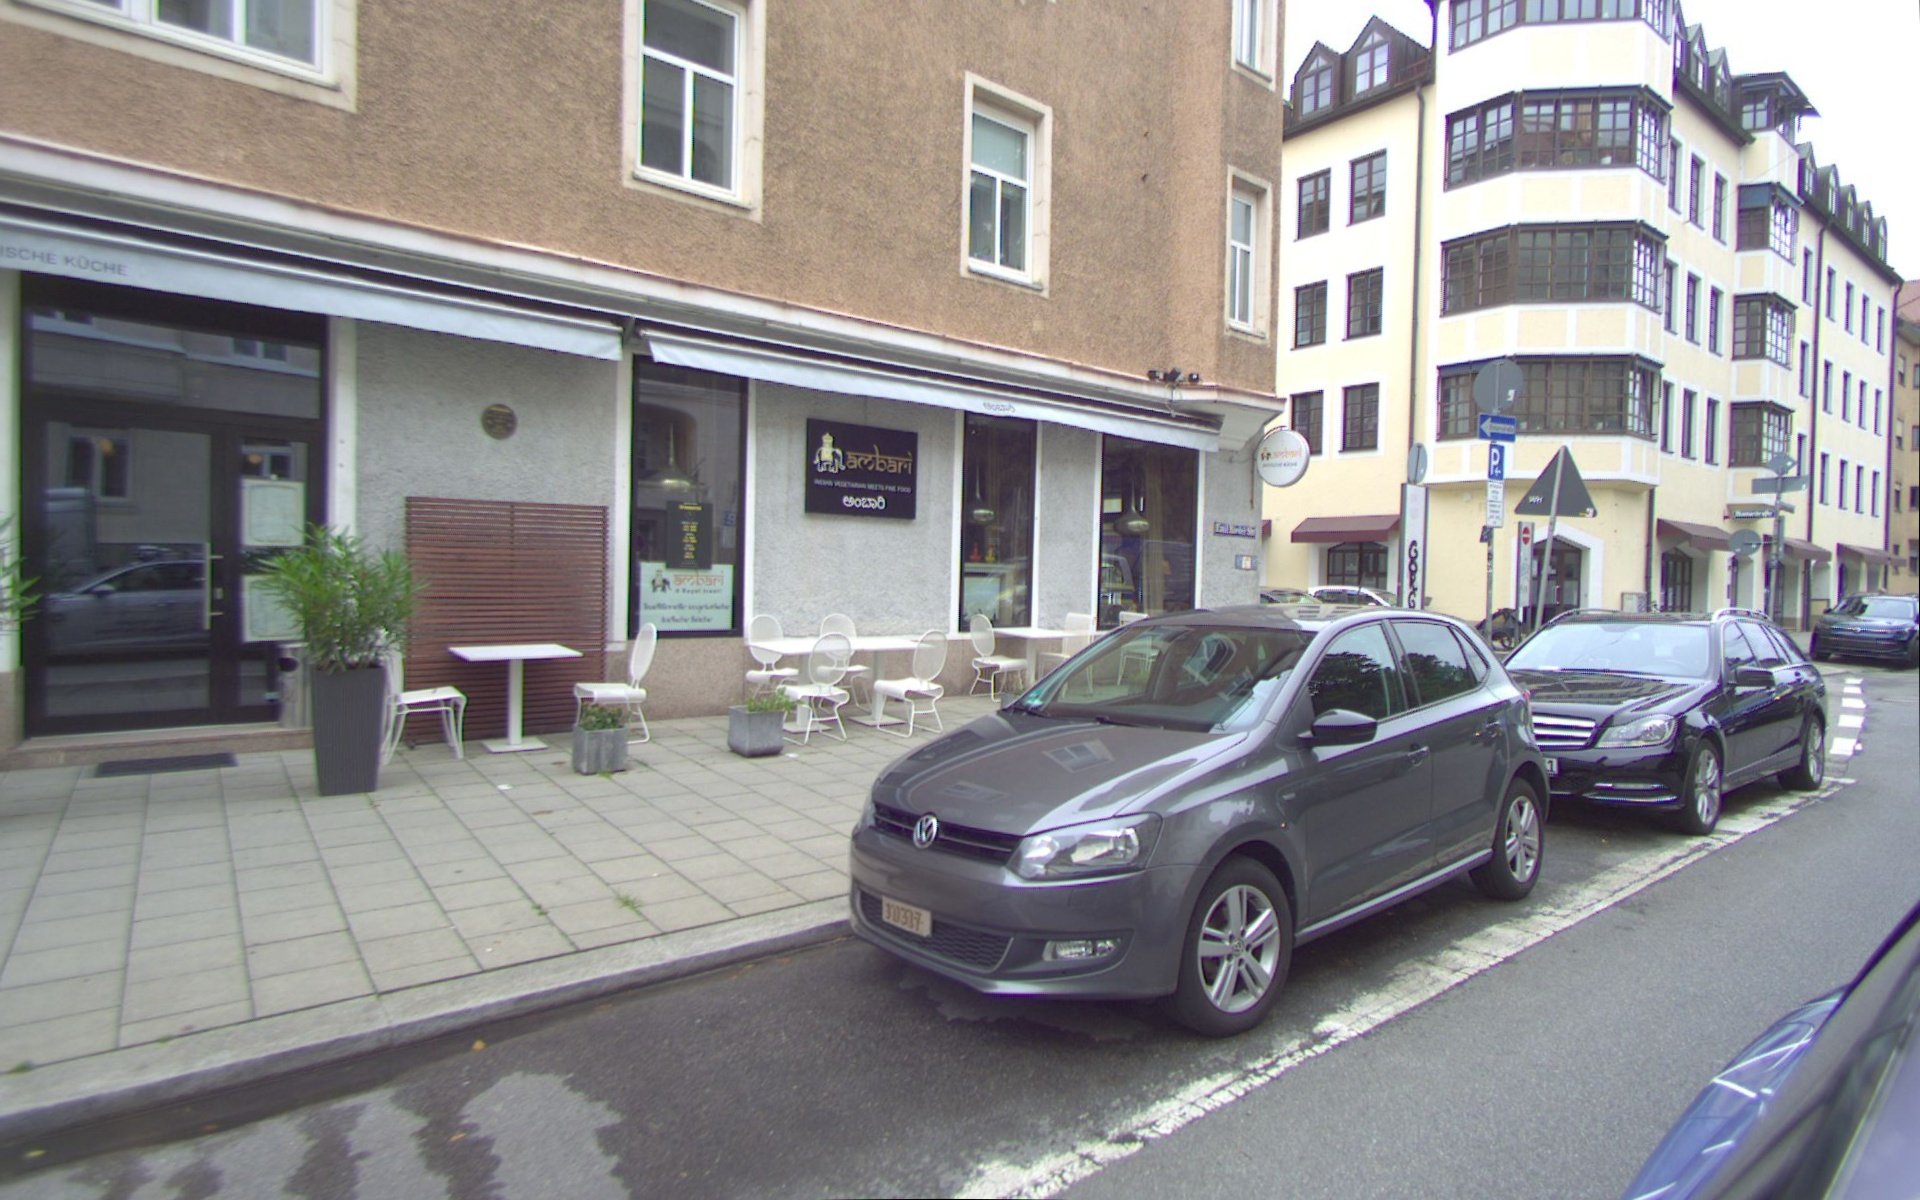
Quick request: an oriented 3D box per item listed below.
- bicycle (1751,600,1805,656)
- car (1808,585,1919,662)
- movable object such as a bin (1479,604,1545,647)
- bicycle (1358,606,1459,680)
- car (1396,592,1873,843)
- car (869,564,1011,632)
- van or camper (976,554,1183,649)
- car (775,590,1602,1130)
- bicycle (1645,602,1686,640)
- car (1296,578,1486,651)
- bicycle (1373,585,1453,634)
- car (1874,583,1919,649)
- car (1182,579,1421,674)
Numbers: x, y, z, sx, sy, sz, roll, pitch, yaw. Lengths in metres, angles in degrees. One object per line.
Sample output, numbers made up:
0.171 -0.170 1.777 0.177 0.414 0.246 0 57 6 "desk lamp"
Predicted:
18.275 0.603 22.601 2.015 1.173 0.431 -1 3 -38 "bicycle"
22.151 0.493 24.098 4.415 1.642 2.112 0 2 -38 "car"
12.697 0.570 23.292 0.671 0.911 1.126 0 2 -37 "movable object such as a bin"
6.637 0.626 14.948 1.769 1.017 0.497 2 2 -36 "bicycle"
5.567 0.668 8.086 4.701 1.422 1.851 0 1 -39 "car"
-0.616 -0.111 27.769 1.941 1.664 3.998 0 3 -36 "car"
2.627 -0.073 23.435 1.925 1.942 4.915 -2 3 -37 "van or camper"
1.348 0.693 4.690 4.109 1.411 1.576 -1 2 -40 "car"
18.197 0.525 26.100 1.664 0.912 0.263 -1 6 -37 "bicycle"
10.078 0.298 23.898 1.717 1.458 3.748 3 0 -34 "car"
11.991 0.240 26.870 0.506 1.201 1.906 0 2 -37 "bicycle"
26.355 0.440 27.072 4.085 1.607 1.821 -1 6 -35 "car"
6.290 0.402 19.000 1.858 1.506 3.884 -1 2 -37 "car"
